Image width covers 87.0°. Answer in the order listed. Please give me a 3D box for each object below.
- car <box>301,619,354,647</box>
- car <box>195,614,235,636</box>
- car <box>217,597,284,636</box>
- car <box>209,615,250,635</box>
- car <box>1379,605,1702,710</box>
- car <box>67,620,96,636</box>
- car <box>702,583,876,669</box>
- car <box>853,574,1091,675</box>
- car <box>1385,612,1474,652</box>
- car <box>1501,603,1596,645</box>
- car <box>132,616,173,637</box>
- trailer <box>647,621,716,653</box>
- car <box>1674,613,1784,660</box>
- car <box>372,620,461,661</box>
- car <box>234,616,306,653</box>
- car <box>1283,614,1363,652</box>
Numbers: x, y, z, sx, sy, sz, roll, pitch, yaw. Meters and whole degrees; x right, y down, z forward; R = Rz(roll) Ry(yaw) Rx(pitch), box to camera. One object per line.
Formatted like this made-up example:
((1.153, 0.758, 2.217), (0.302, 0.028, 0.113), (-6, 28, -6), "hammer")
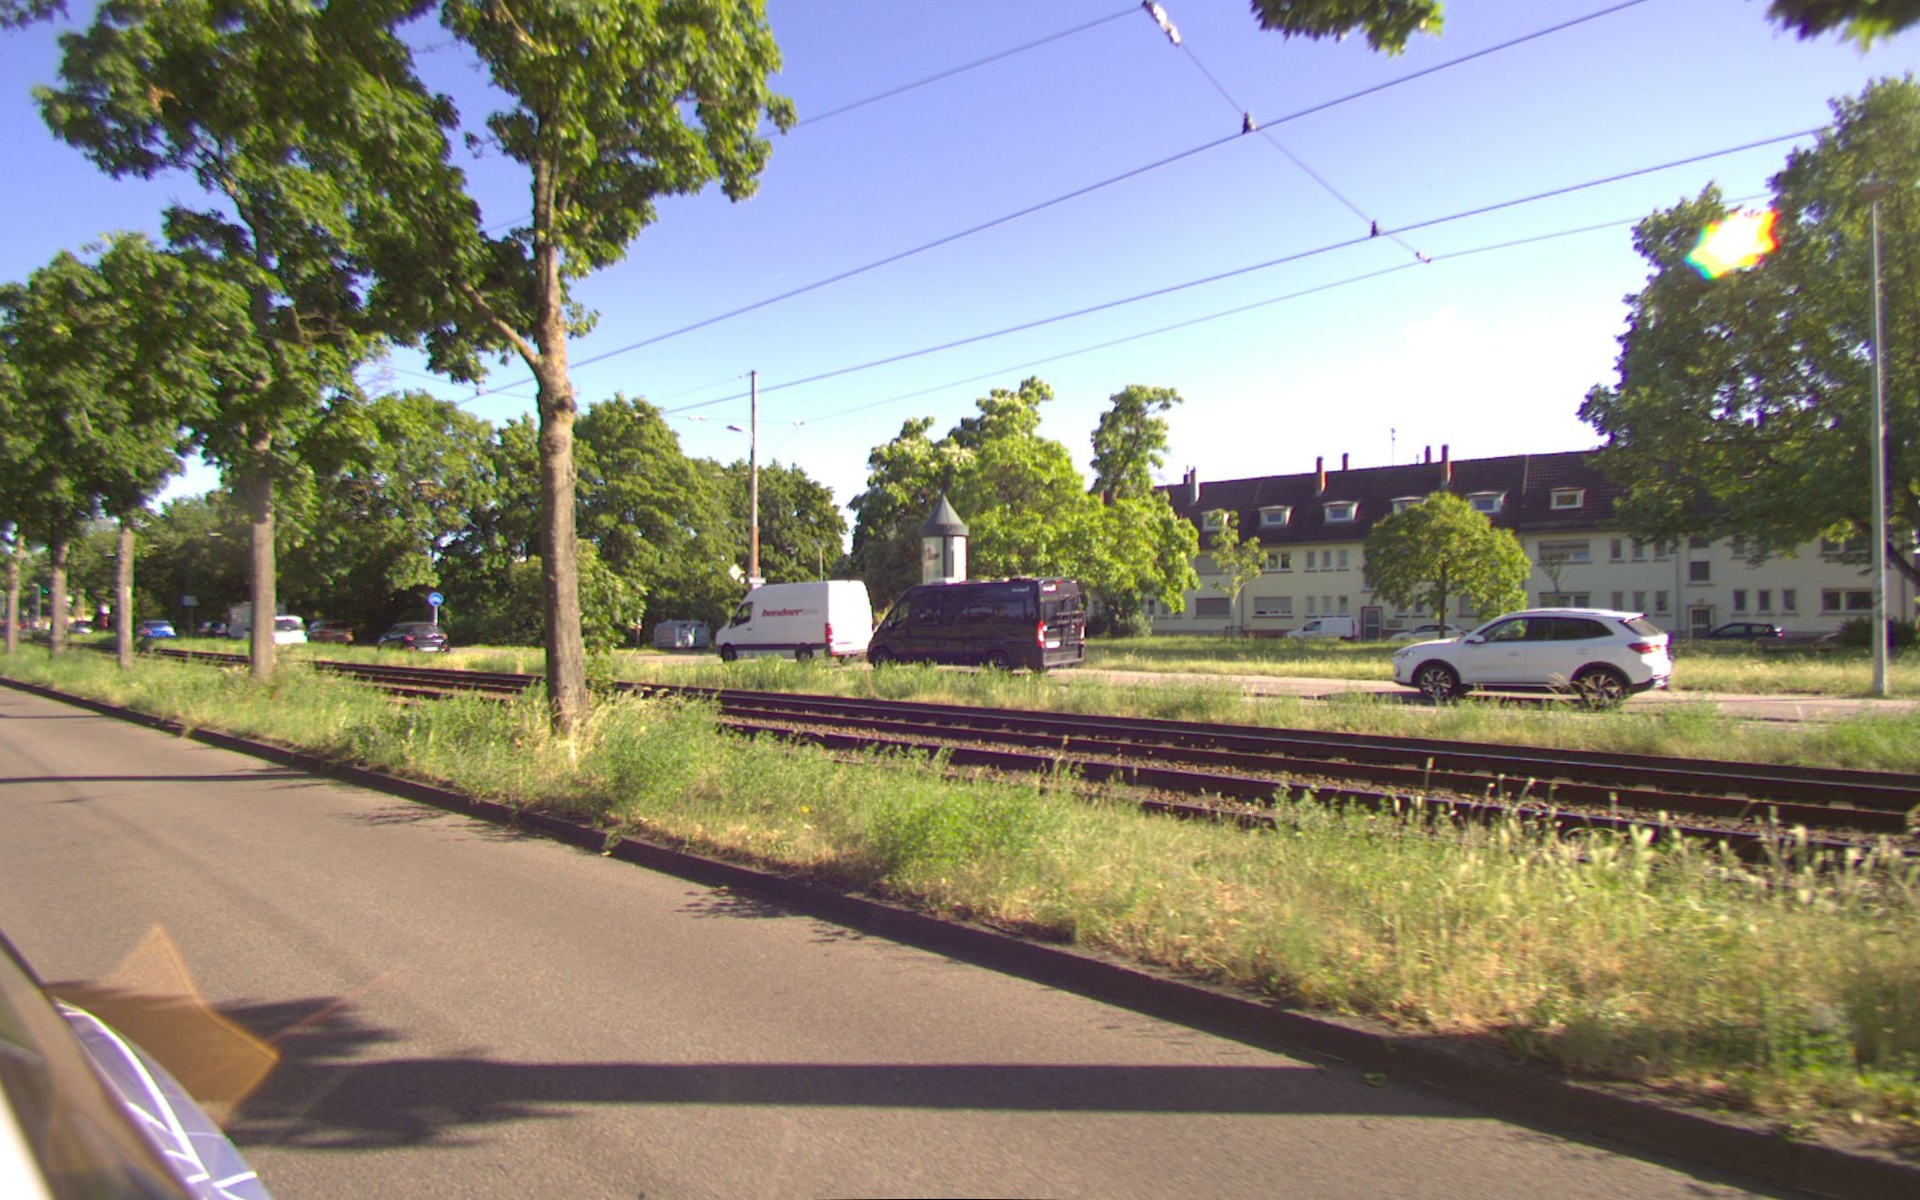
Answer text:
((-37.924, 1.951, 60.648), (4.248, 1.596, 1.656), (-1, 0, 43), "car")
((-57.555, 1.913, 78.174), (4.282, 1.575, 1.748), (-1, 0, 43), "car")
((-49.022, 1.169, 69.873), (6.795, 2.600, 2.202), (-2, -1, 41), "car")
((-54.207, 1.839, 75.051), (3.999, 1.445, 1.692), (-1, 0, 42), "car")
((10.280, 0.937, 18.186), (4.772, 1.619, 1.804), (-1, 0, 42), "car")
((-91.078, 2.914, 104.945), (4.441, 1.539, 1.709), (-1, 0, 42), "car")
((-5.560, 0.781, 32.195), (6.133, 2.515, 1.981), (-1, 0, 41), "car")
((0.155, 0.597, 26.902), (6.462, 2.394, 2.160), (-1, 0, 41), "car")
((25.212, 1.671, 54.368), (3.992, 2.029, 1.976), (-1, 0, 36), "car")
((29.746, 1.202, 51.151), (3.991, 2.029, 1.976), (-1, 0, 35), "car")
((-55.396, 1.799, 69.394), (3.818, 1.405, 1.541), (-1, 0, 41), "car")
((-14.966, 1.970, 54.573), (1.741, 1.515, 3.733), (-1, 0, 21), "trailer")
((35.952, 1.670, 47.356), (3.996, 2.029, 1.974), (-1, 0, 39), "car")
((-21.430, 1.563, 39.884), (3.750, 1.543, 1.972), (-2, -1, 42), "car")
((-34.842, 1.707, 51.051), (4.979, 1.757, 1.792), (-1, 0, 41), "car")
((20.675, 1.834, 57.677), (3.987, 2.029, 1.978), (-1, 0, 33), "car")
